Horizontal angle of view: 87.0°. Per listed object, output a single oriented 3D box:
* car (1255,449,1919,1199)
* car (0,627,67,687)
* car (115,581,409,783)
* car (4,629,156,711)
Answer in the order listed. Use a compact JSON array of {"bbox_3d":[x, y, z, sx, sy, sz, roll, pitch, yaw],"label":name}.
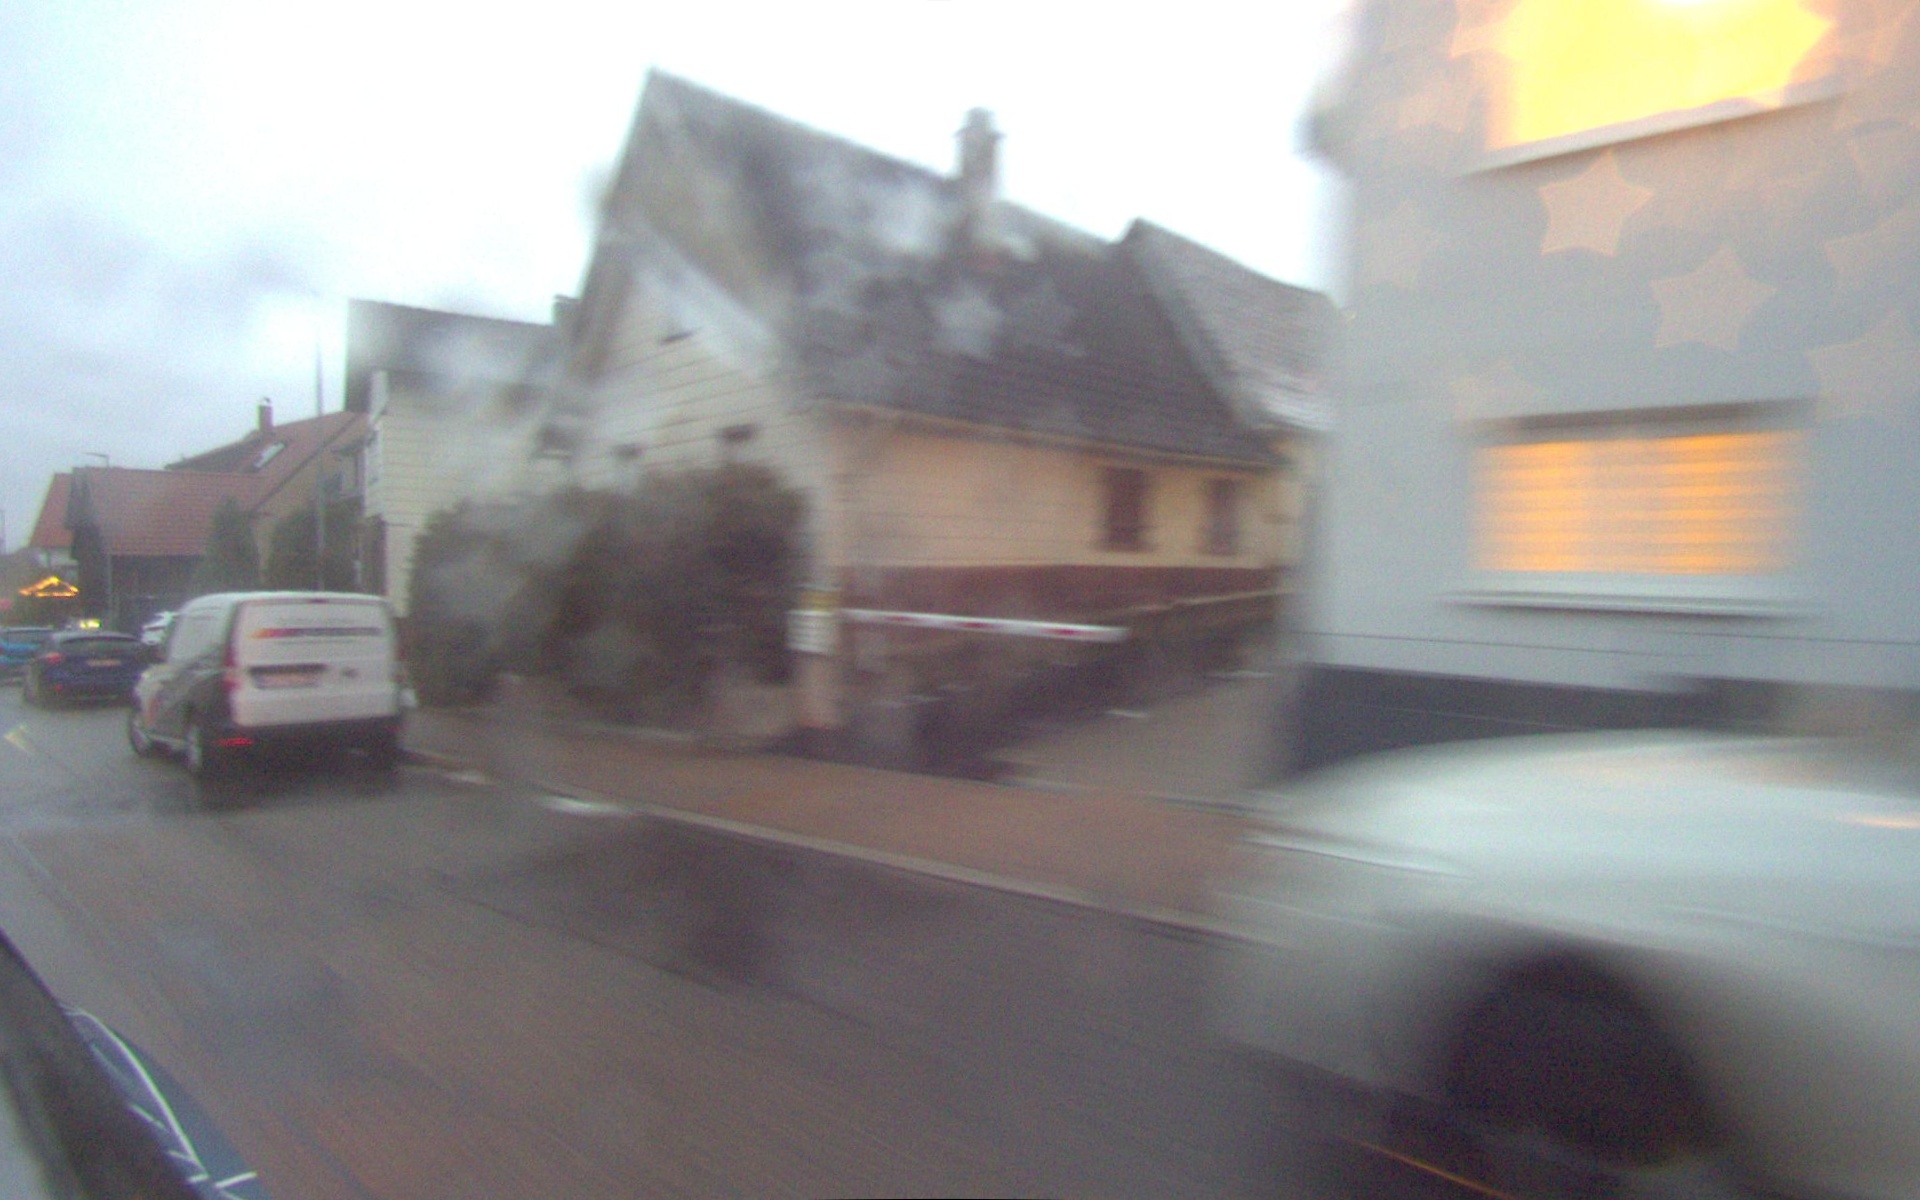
[{"bbox_3d":[3.011,0.558,1.766,4.417,1.636,1.899,-1,-1,38],"label":"car"},{"bbox_3d":[-26.471,1.560,28.349,3.999,1.564,1.743,-2,-2,42],"label":"car"},{"bbox_3d":[-7.777,0.794,11.125,4.127,1.806,1.752,-2,-2,42],"label":"car"},{"bbox_3d":[-17.738,1.332,20.352,3.999,1.477,1.806,-2,-2,42],"label":"car"}]
